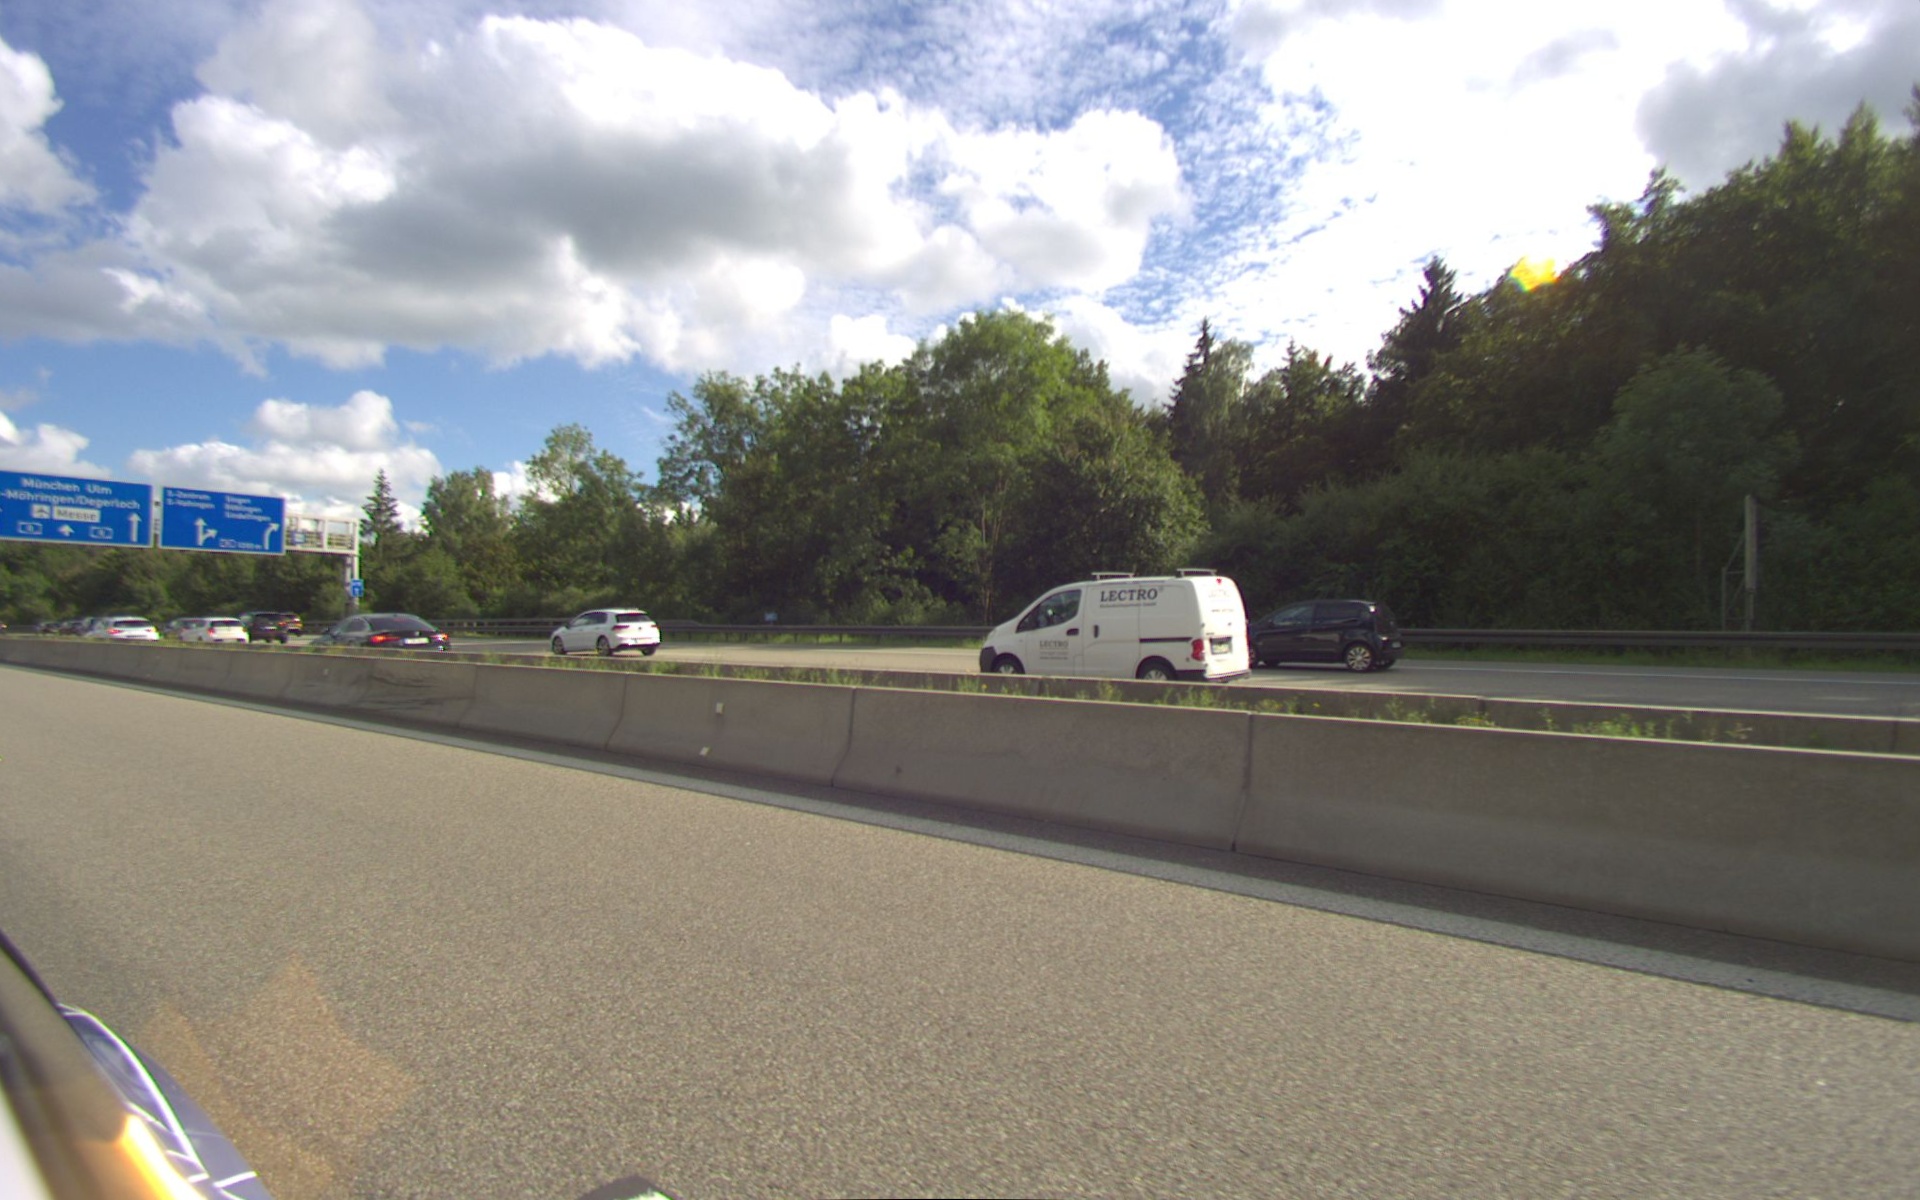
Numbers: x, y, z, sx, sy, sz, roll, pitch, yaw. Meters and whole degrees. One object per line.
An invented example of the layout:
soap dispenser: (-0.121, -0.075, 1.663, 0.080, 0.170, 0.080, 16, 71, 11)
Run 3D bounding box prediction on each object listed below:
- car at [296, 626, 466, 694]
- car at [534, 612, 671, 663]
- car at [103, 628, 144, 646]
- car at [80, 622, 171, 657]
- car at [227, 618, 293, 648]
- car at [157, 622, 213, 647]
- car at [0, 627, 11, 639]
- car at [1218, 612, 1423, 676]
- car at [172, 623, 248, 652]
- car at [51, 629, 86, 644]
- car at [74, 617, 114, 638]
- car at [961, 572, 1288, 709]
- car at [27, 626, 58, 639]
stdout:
car: (-13.760, 1.348, 23.948, 4.744, 1.401, 1.973, -1, -1, 40)
car: (-11.381, 1.144, 32.058, 4.668, 1.484, 2.050, -1, -1, 40)
car: (-77.412, 3.398, 93.637, 5.122, 1.557, 1.800, -2, -1, 37)
car: (-33.999, 1.572, 41.204, 4.827, 1.318, 1.974, -1, -1, 39)
car: (-36.668, 1.722, 52.987, 4.626, 1.490, 1.704, -1, -1, 40)
car: (-44.958, 1.973, 58.675, 3.994, 1.364, 1.621, -1, -1, 38)
car: (-102.017, 3.499, 107.079, 3.990, 1.298, 1.686, -1, -1, 37)
car: (7.530, 0.895, 21.309, 3.785, 1.221, 1.479, -1, -1, 40)
car: (-33.230, 1.647, 44.801, 4.434, 1.209, 1.631, -2, -1, 39)
car: (-88.041, 3.621, 99.915, 4.699, 1.451, 1.686, -1, -1, 37)
car: (-70.511, 2.255, 82.379, 4.474, 1.652, 1.650, -1, -1, 39)
car: (2.468, 0.578, 15.914, 4.725, 1.851, 1.974, -1, -1, 39)
car: (-97.507, 3.461, 107.587, 4.176, 1.298, 1.686, -1, -1, 37)
